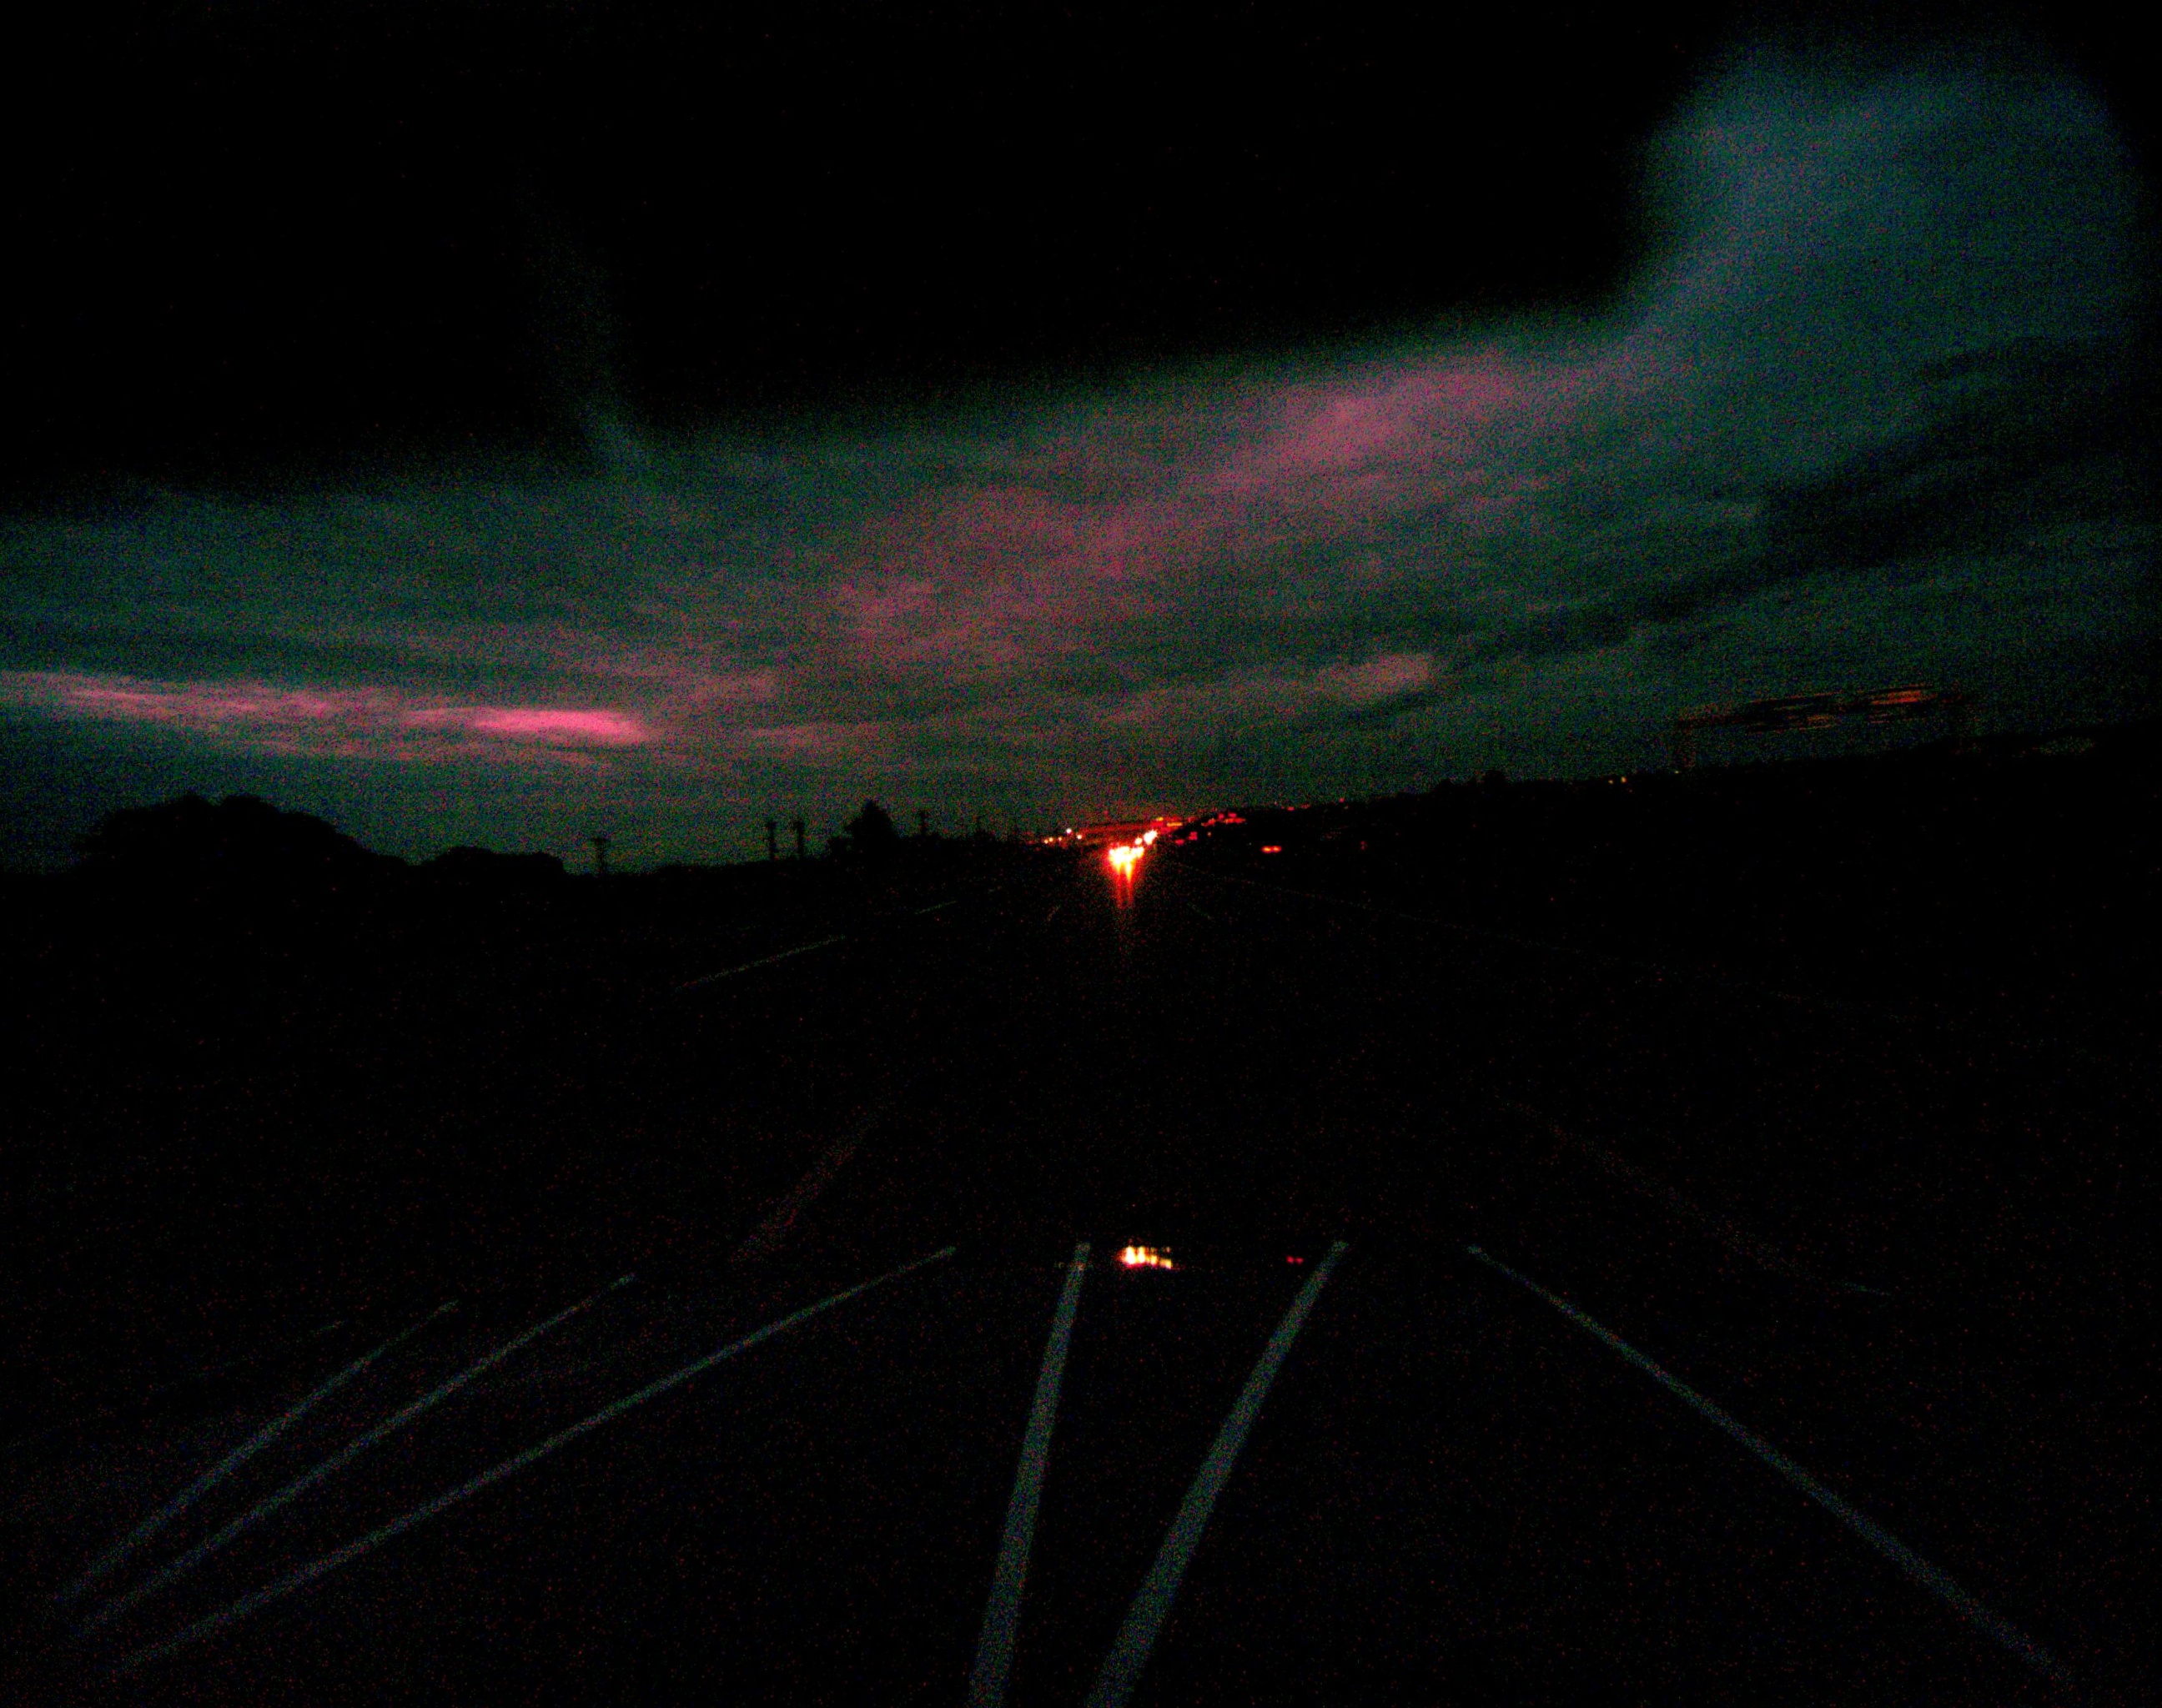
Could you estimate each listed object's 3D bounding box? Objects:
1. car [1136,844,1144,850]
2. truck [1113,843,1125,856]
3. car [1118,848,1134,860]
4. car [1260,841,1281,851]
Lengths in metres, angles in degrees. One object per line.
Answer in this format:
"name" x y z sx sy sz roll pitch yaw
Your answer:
"car" 15.470 -1.771 199.472 1.998 1.342 4.175 -5 1 4
"truck" 12.151 -1.320 242.889 3.059 4.047 10.524 -2 0 6
"car" 5.705 -0.029 96.947 1.998 1.342 4.175 -1 2 3
"car" 27.328 -1.177 109.446 1.998 1.396 4.329 -3 1 2
